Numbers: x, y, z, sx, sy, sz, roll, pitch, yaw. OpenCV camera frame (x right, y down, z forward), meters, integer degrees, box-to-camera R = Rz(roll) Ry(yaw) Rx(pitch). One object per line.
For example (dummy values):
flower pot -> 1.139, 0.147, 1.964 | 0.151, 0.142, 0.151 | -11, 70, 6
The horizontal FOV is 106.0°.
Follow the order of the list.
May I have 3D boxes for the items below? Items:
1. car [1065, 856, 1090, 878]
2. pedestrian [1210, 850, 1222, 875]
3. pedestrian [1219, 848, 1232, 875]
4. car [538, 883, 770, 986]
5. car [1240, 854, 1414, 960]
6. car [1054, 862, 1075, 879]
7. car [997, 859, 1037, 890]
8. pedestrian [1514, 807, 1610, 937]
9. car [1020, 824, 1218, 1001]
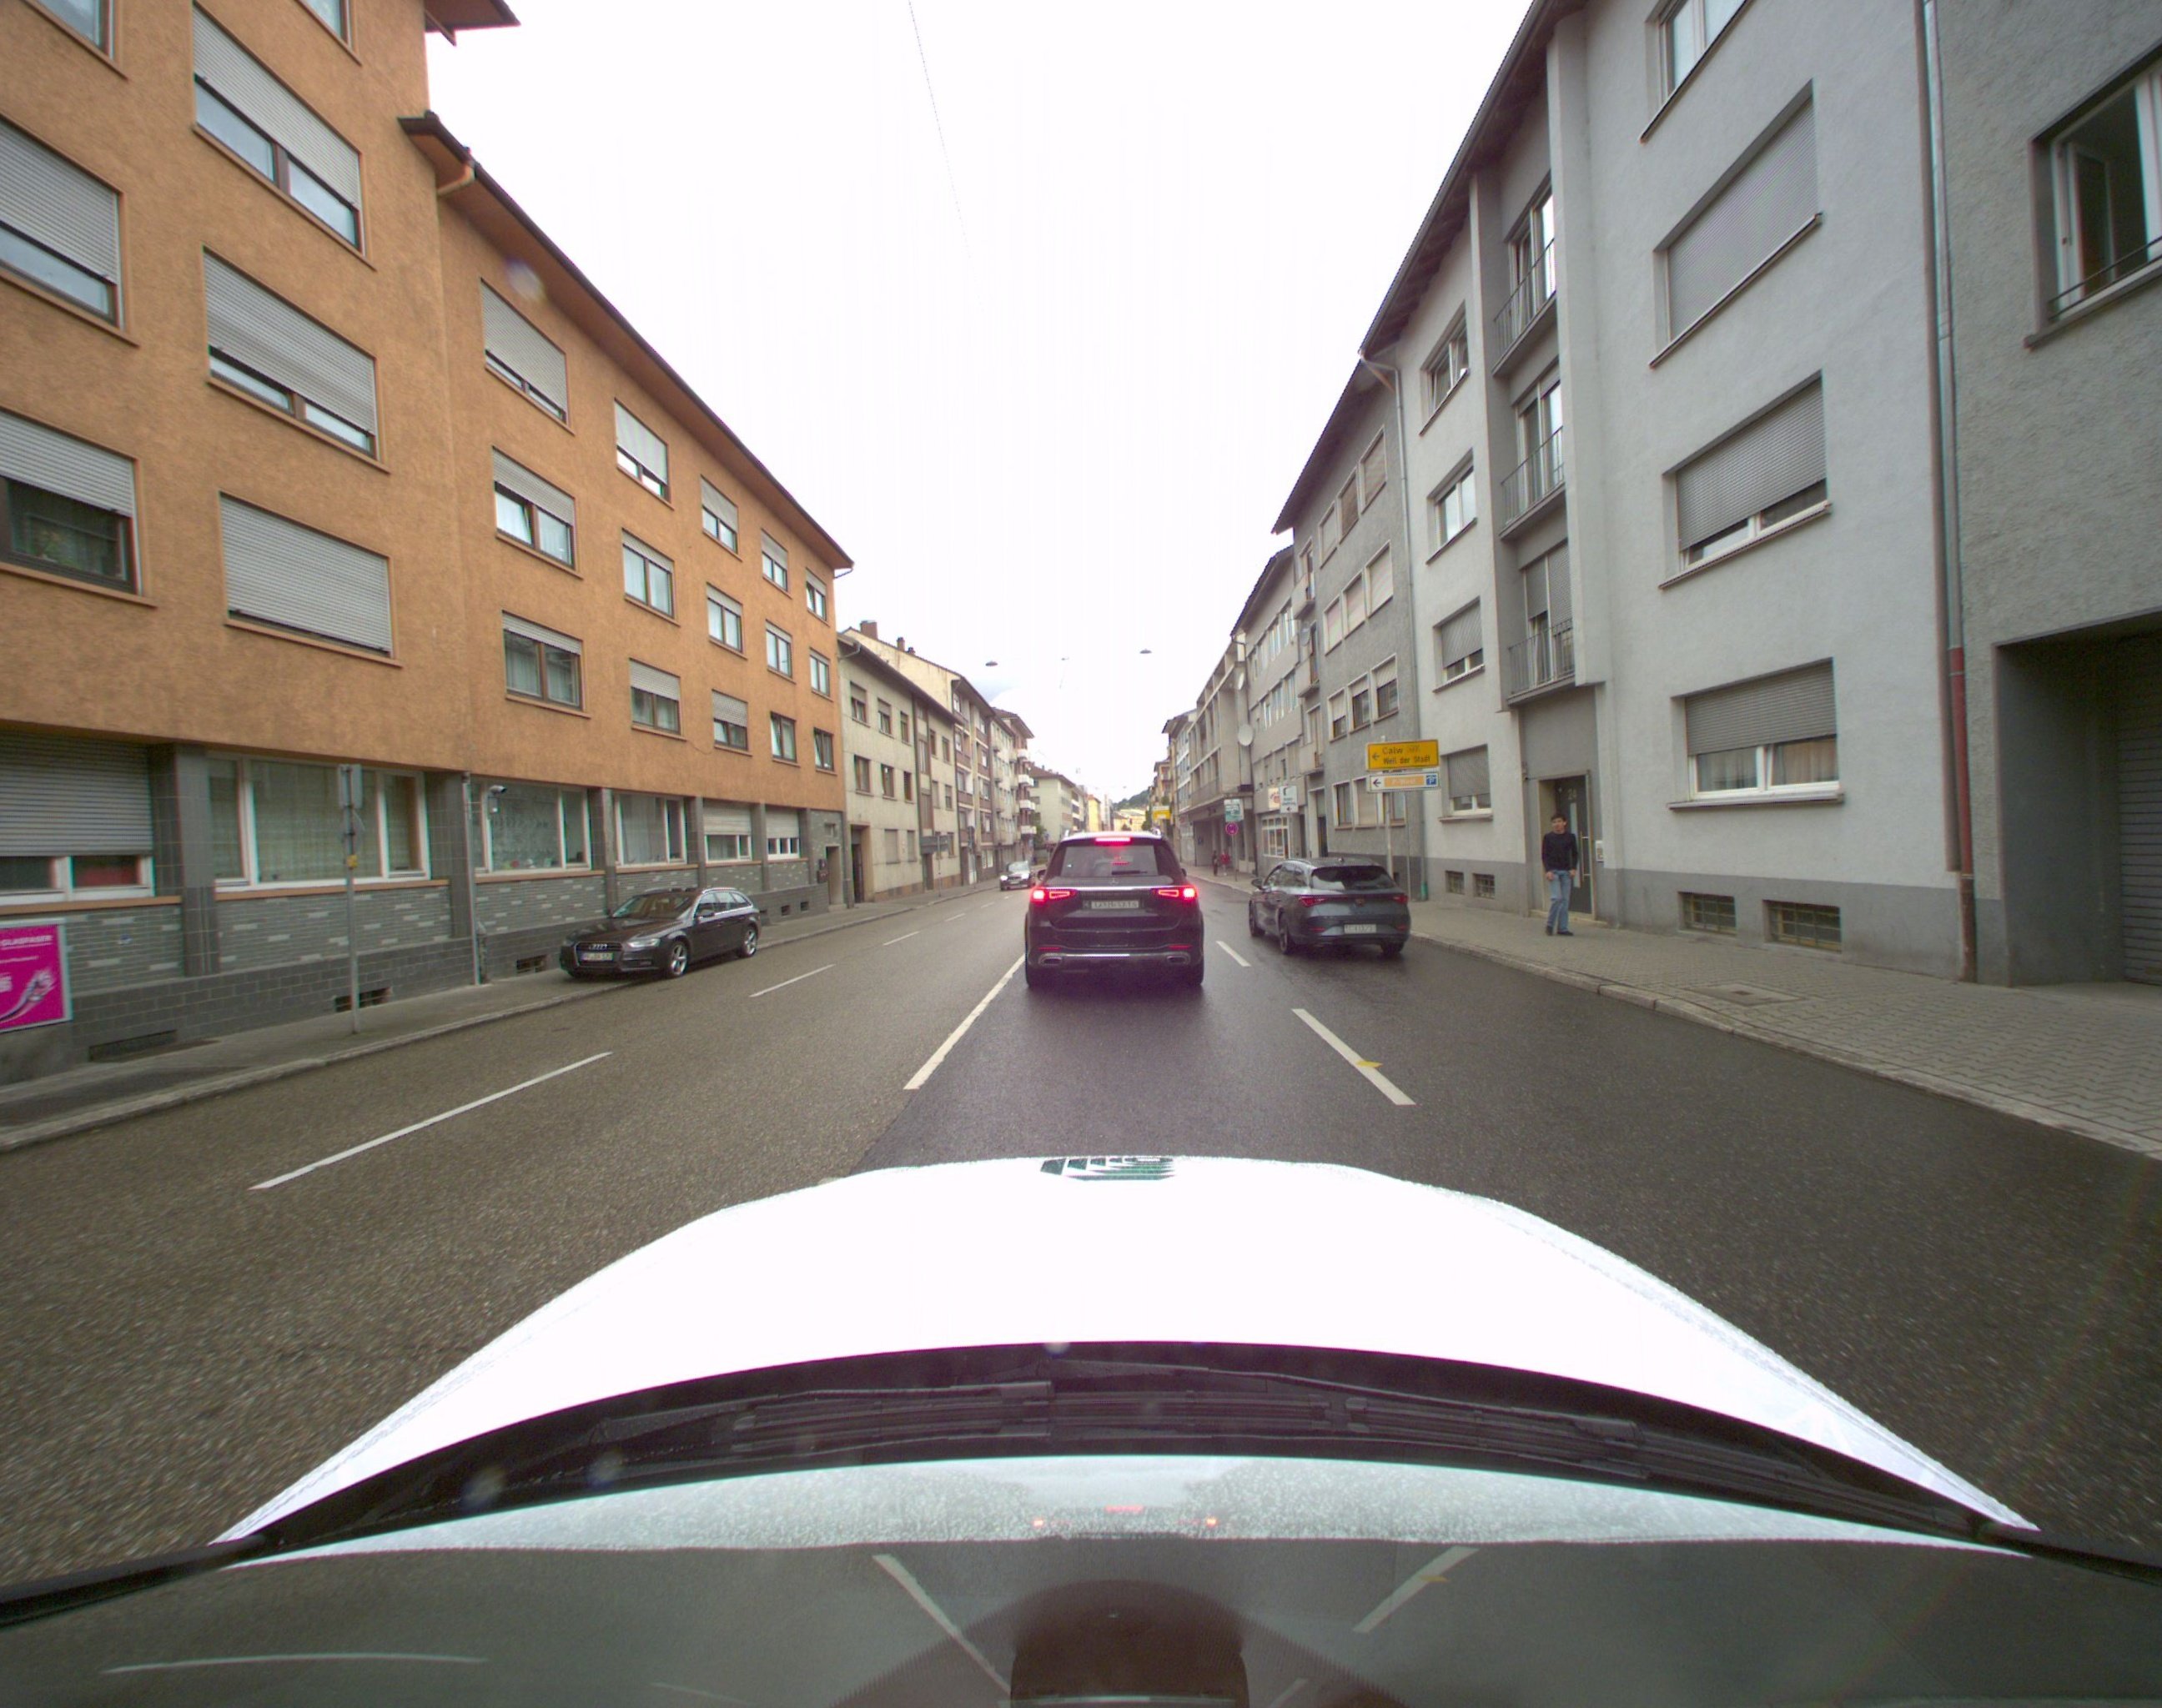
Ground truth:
car -> -0.264, 1.129, 72.794 | 1.828, 1.727, 4.479 | -5, 0, 4
pedestrian -> 8.082, 0.510, 48.739 | 0.505, 1.500, 0.562 | -5, 0, -1
pedestrian -> 8.676, 0.439, 48.846 | 0.559, 1.578, 0.525 | -5, 0, -3
car -> -7.560, 1.346, 15.037 | 1.788, 1.438, 4.528 | 0, 0, 1
car -> 3.752, 0.712, 13.184 | 1.615, 1.430, 4.313 | 0, 0, 1
car -> -1.785, 1.756, 87.846 | 1.789, 1.584, 4.320 | -5, 0, 3
car -> -3.570, 1.135, 45.984 | 1.697, 1.507, 4.160 | -5, 0, 1
pedestrian -> 7.058, 0.251, 12.002 | 0.641, 1.778, 1.057 | -5, 0, 1
car -> 0.440, 0.597, 10.308 | 2.018, 1.806, 4.001 | 0, 0, 1
